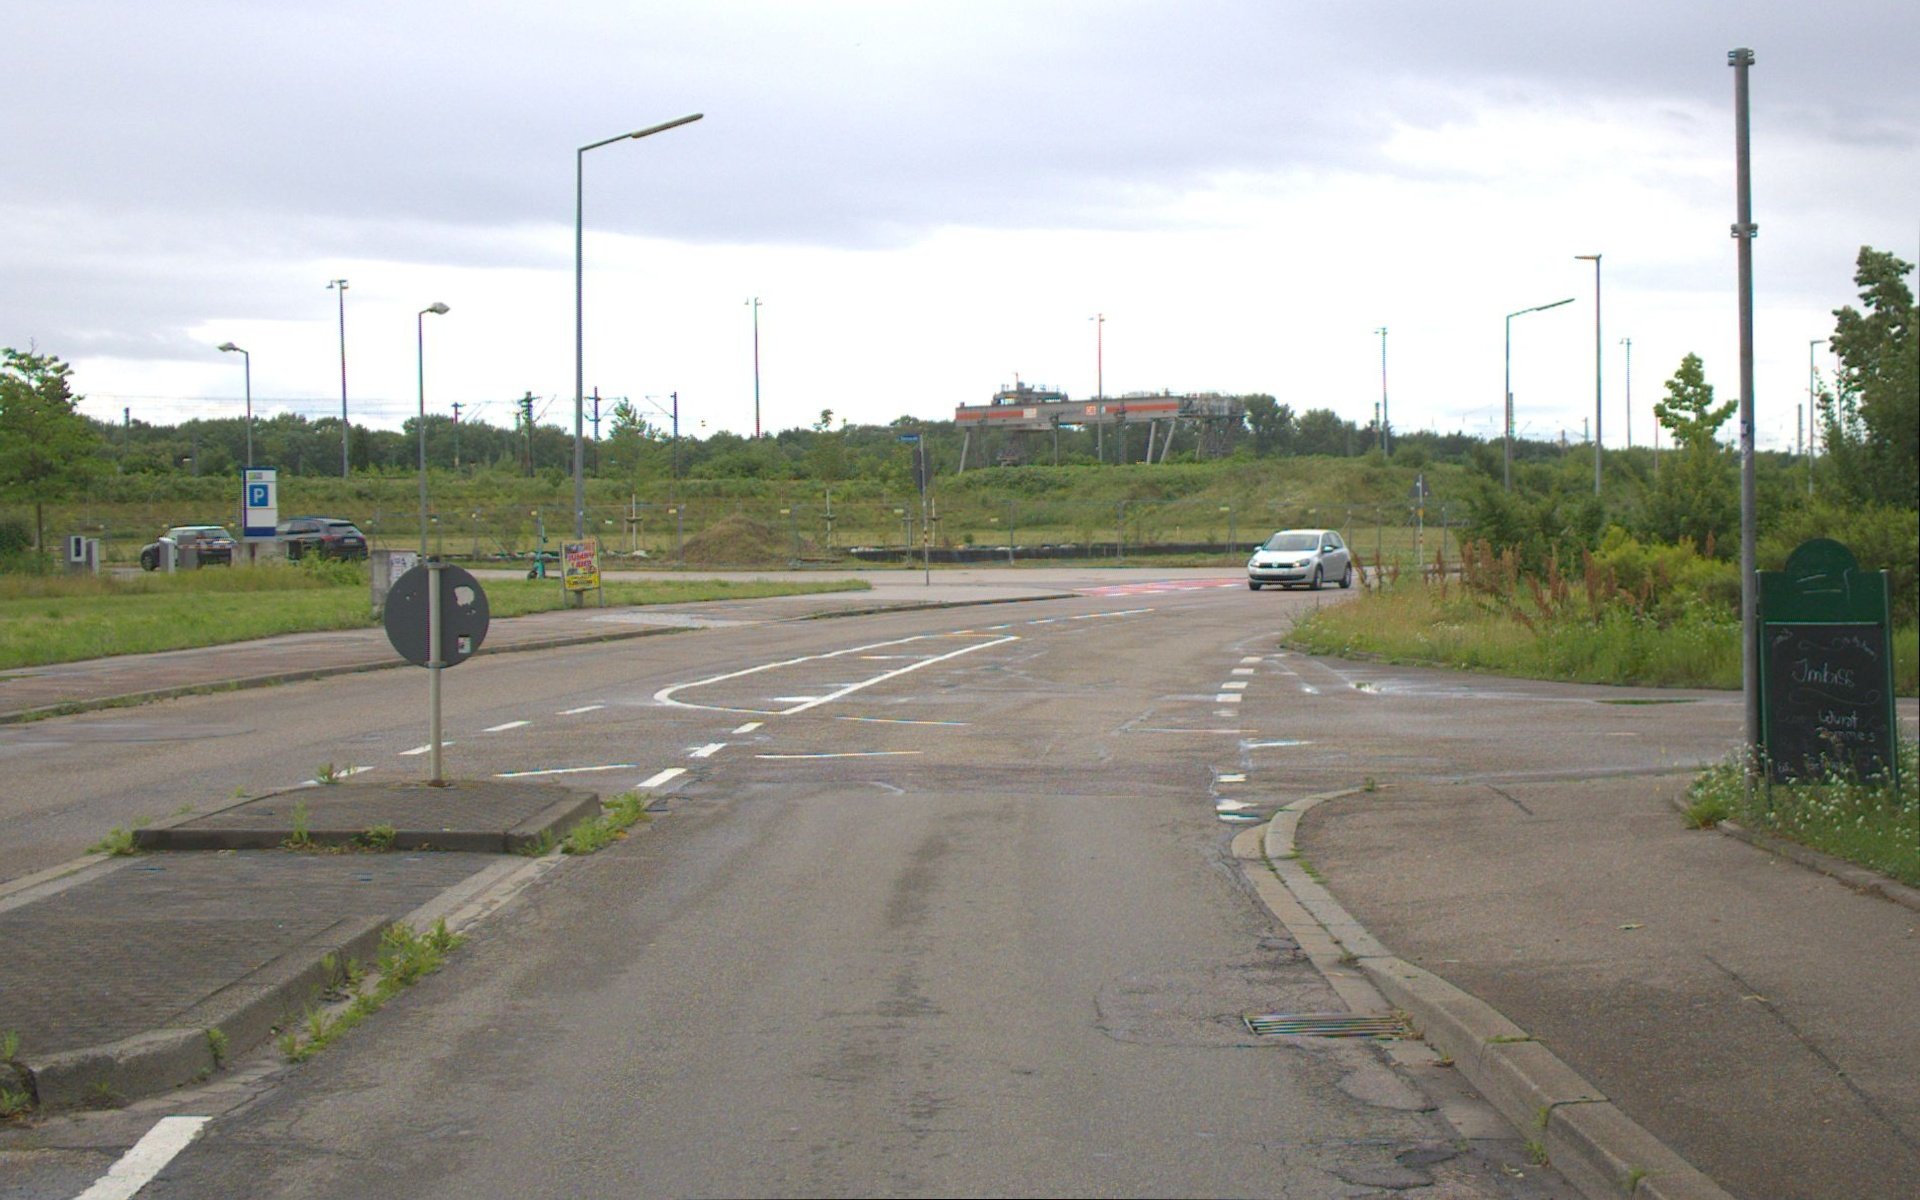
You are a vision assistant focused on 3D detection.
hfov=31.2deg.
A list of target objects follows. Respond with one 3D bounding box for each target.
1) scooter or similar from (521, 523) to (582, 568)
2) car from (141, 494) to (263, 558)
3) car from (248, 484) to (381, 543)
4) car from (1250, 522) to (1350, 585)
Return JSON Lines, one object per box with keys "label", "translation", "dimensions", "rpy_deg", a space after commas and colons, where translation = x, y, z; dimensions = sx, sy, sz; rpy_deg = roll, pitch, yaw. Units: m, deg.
{"label": "scooter or similar", "translation": [-10.602, -1.416, 89.142], "dimensions": [1.463, 1.164, 0.571], "rpy_deg": [1, 2, 13]}
{"label": "car", "translation": [-24.881, -2.436, 112.739], "dimensions": [3.997, 2.006, 1.995], "rpy_deg": [1, 4, 44]}
{"label": "car", "translation": [-20.448, -2.744, 108.867], "dimensions": [3.996, 1.816, 1.996], "rpy_deg": [1, 3, 40]}
{"label": "car", "translation": [8.428, -1.175, 85.024], "dimensions": [1.673, 1.456, 4.053], "rpy_deg": [2, 2, 17]}
